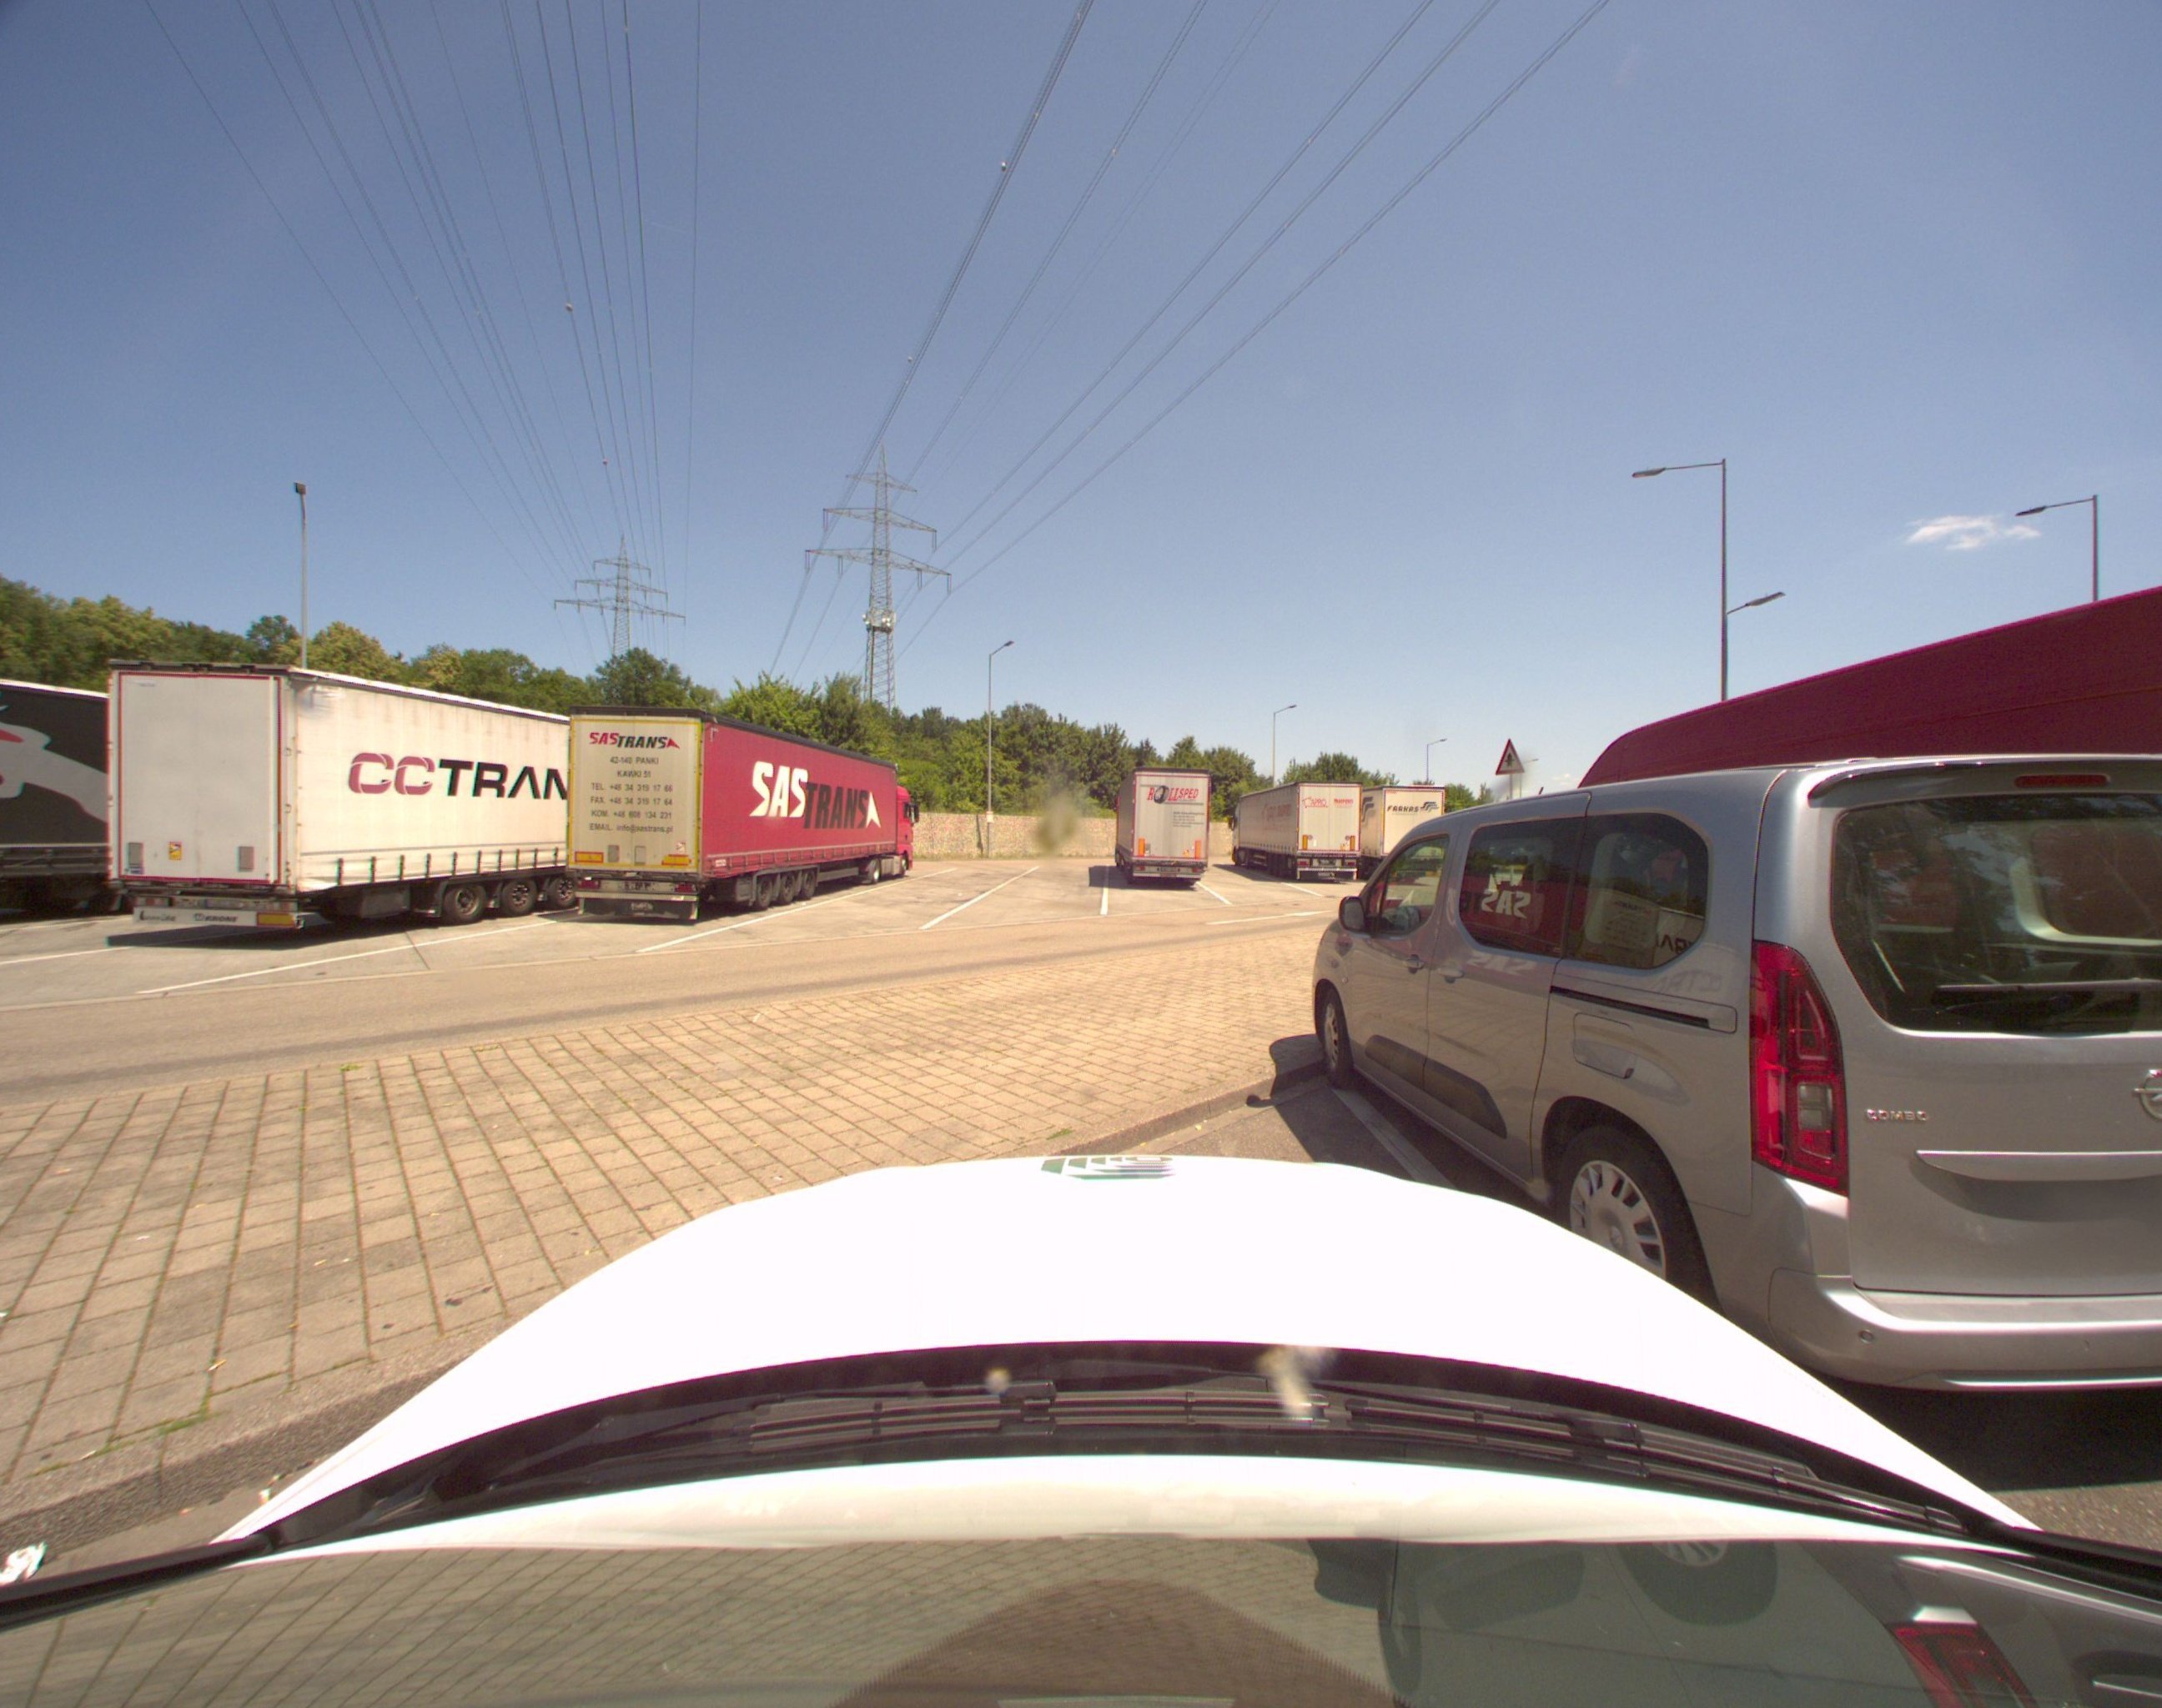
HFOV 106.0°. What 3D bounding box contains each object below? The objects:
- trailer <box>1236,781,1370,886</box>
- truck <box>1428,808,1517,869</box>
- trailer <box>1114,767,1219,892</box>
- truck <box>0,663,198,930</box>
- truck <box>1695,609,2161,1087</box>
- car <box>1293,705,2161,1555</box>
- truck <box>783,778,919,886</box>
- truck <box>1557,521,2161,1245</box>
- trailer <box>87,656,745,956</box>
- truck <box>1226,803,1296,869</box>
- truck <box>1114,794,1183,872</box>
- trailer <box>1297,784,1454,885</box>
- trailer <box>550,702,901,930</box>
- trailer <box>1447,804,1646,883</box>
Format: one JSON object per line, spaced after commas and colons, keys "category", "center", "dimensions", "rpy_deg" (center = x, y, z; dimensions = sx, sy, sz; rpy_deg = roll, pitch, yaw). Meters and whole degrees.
{"category": "trailer", "center": [9.934, -1.043, 38.641], "dimensions": [2.801, 3.989, 14.403], "rpy_deg": [1, 2, 2]}
{"category": "truck", "center": [24.360, -1.003, 50.982], "dimensions": [2.792, 3.521, 5.903], "rpy_deg": [1, 2, 2]}
{"category": "trailer", "center": [3.069, -1.062, 33.692], "dimensions": [3.122, 3.989, 14.401], "rpy_deg": [1, 2, 1]}
{"category": "truck", "center": [-18.534, -0.967, 13.780], "dimensions": [2.726, 4.239, 3.997], "rpy_deg": [1, 2, 2]}
{"category": "truck", "center": [7.997, -0.033, 6.452], "dimensions": [2.444, 2.912, 5.663], "rpy_deg": [-1, -1, 7]}
{"category": "car", "center": [2.495, 0.578, 3.880], "dimensions": [1.864, 1.863, 4.176], "rpy_deg": [1, 1, 0]}
{"category": "truck", "center": [-7.810, -0.783, 28.471], "dimensions": [2.840, 3.327, 5.903], "rpy_deg": [1, 2, 2]}
{"category": "truck", "center": [5.141, 0.123, 4.903], "dimensions": [1.968, 2.622, 5.314], "rpy_deg": [0, -1, 7]}
{"category": "trailer", "center": [-12.122, -0.909, 18.332], "dimensions": [2.785, 4.084, 14.139], "rpy_deg": [1, 2, 2]}
{"category": "truck", "center": [10.196, -1.073, 46.742], "dimensions": [2.852, 3.521, 5.903], "rpy_deg": [1, 2, 2]}
{"category": "truck", "center": [3.234, -1.079, 40.586], "dimensions": [3.092, 3.566, 5.903], "rpy_deg": [1, 2, 2]}
{"category": "trailer", "center": [13.607, -1.034, 39.604], "dimensions": [2.801, 3.989, 14.403], "rpy_deg": [1, 2, 2]}
{"category": "trailer", "center": [-8.058, -0.945, 21.901], "dimensions": [2.781, 4.084, 14.139], "rpy_deg": [1, 2, 2]}
{"category": "trailer", "center": [24.104, -0.731, 43.751], "dimensions": [2.801, 3.507, 14.403], "rpy_deg": [1, 2, 2]}
